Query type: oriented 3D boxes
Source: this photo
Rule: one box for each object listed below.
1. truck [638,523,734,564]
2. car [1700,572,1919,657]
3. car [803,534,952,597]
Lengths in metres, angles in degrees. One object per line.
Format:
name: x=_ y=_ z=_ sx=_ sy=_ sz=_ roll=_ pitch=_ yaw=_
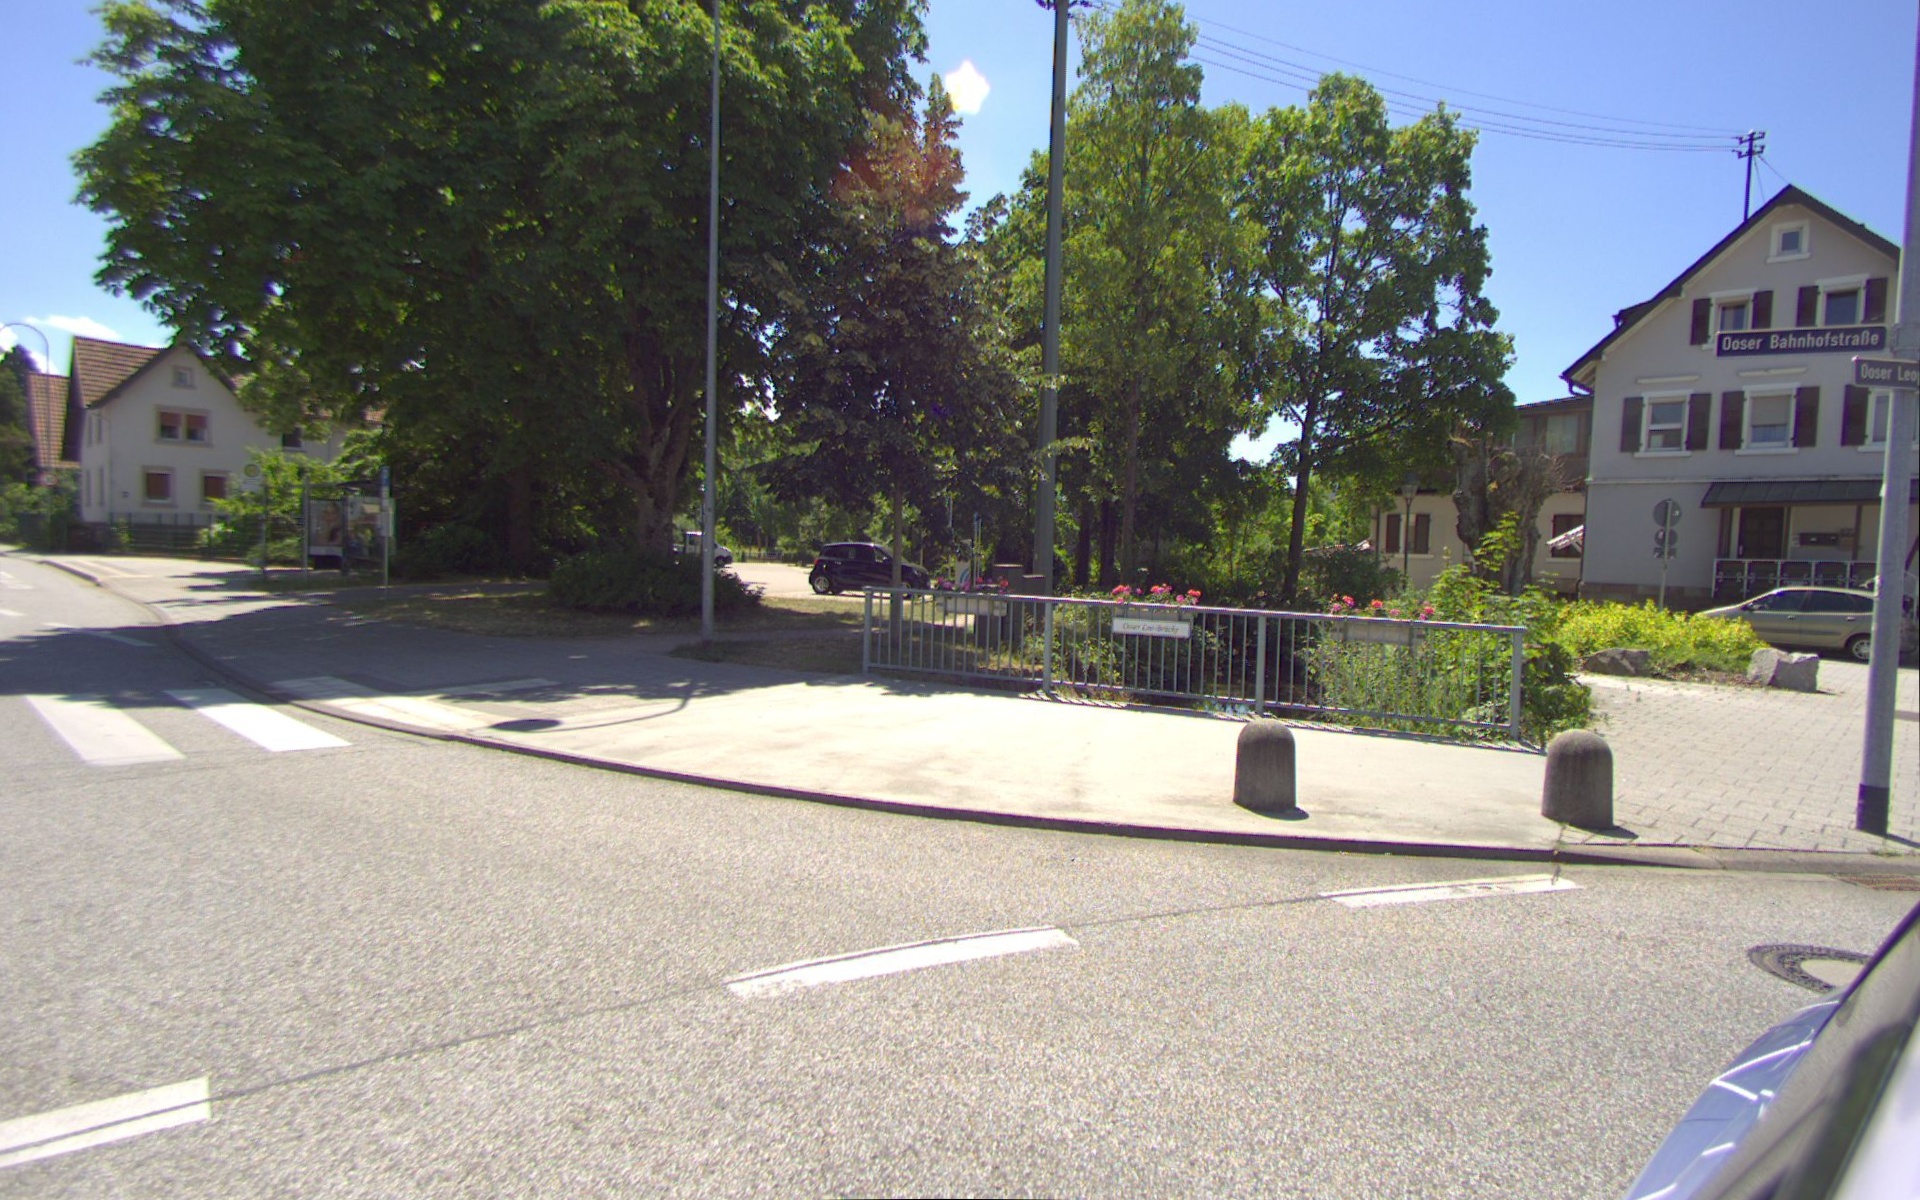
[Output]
truck: x=-18.459 y=-3.784 z=68.202 sx=6.087 sy=2.474 sz=2.270 roll=1 pitch=1 yaw=-16
car: x=20.110 y=0.284 z=23.851 sx=1.764 sy=1.615 sz=3.994 roll=1 pitch=4 yaw=-43
car: x=-2.362 y=-1.022 z=29.481 sx=3.939 sy=1.620 sz=1.837 roll=3 pitch=3 yaw=12
